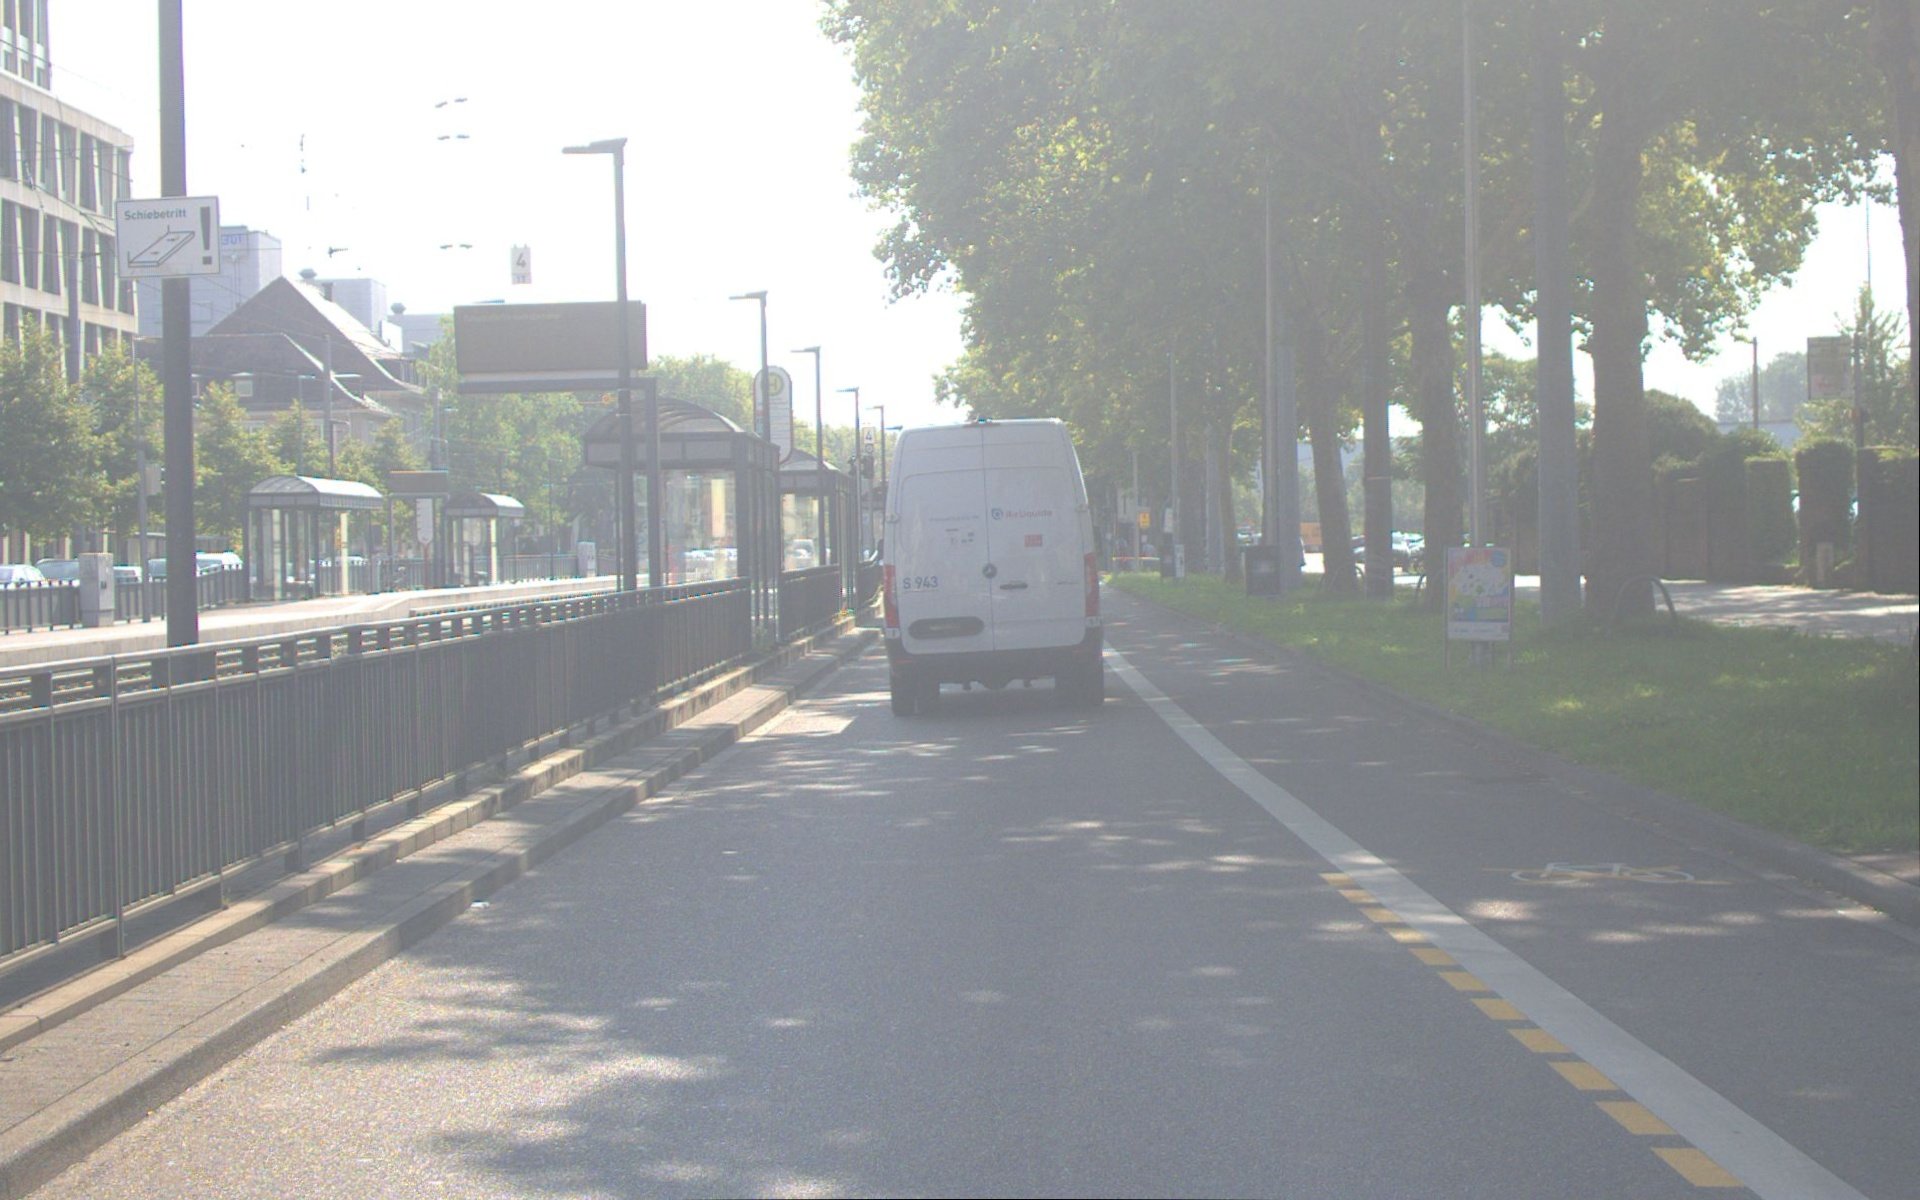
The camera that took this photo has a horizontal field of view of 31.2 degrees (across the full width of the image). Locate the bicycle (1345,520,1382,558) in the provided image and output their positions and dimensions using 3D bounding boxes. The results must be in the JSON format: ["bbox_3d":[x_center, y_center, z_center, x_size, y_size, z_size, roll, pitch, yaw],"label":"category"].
[{"bbox_3d":[11.017,-1.666,93.909,0.681,1.001,2.218,-2,1,0],"label":"bicycle"}]

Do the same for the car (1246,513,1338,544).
[{"bbox_3d":[15.041,-3.255,156.073,3.987,1.371,2.000,0,0,1],"label":"car"}]

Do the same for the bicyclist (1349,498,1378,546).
[{"bbox_3d":[11.020,-2.129,93.917,0.669,1.272,0.728,-2,1,0],"label":"bicyclist"}]

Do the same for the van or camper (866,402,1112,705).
[{"bbox_3d":[0.183,-0.454,32.914,2.115,2.673,5.251,0,1,-2],"label":"van or camper"}]

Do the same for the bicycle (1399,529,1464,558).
[{"bbox_3d":[14.508,-1.740,105.773,1.932,0.844,0.372,-1,1,1],"label":"bicycle"}]
